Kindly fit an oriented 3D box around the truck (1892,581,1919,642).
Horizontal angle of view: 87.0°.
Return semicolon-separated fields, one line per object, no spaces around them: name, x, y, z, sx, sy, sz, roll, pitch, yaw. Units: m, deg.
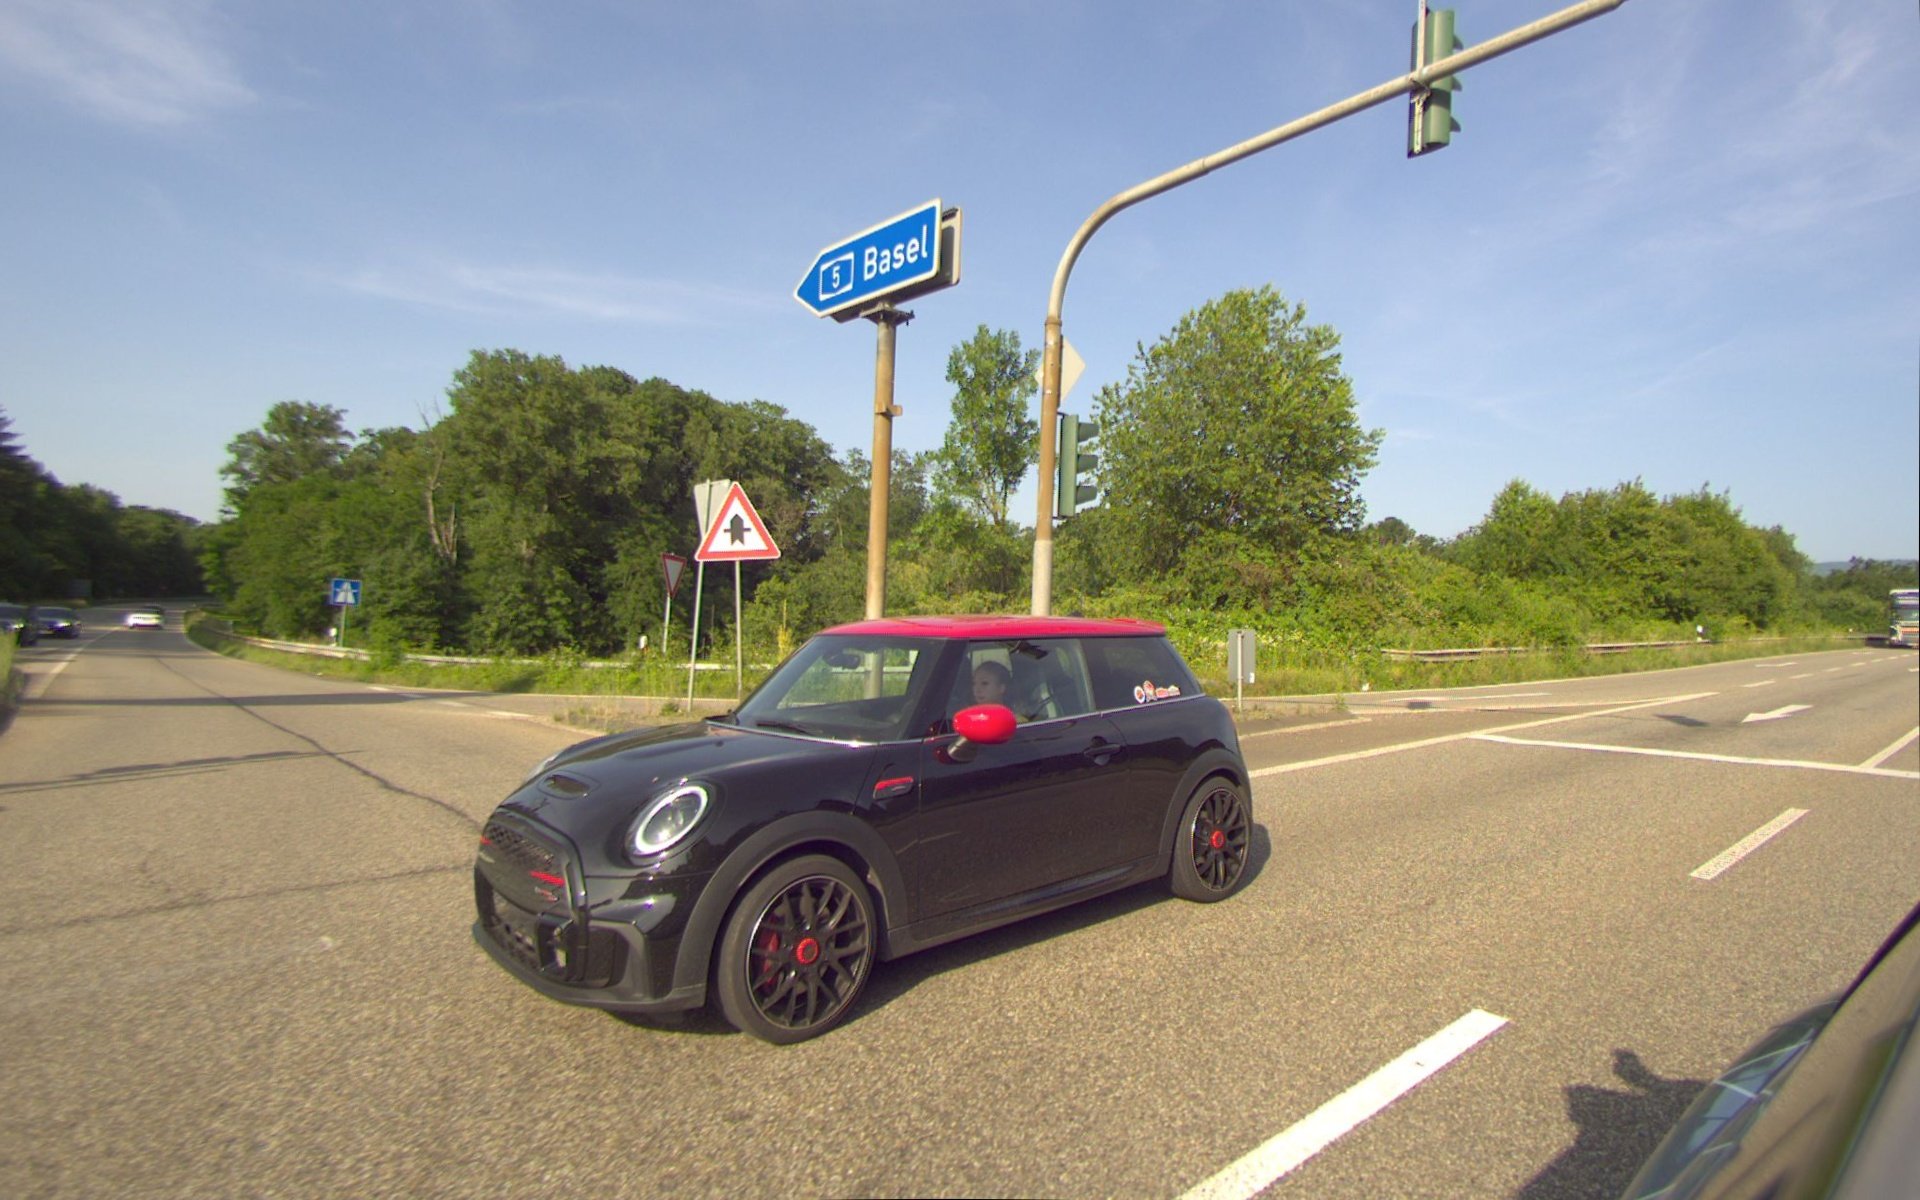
truck;68.661;0.837;71.274;14.314;4.071;3.192;1;-1;-43

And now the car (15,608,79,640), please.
car;-43.835;1.126;48.672;1.834;1.459;4.121;1;-1;-36

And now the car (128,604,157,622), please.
car;-69.904;1.094;86.548;1.835;1.459;4.119;1;-1;-38

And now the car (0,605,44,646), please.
car;-36.591;0.946;38.721;1.834;1.459;4.121;1;-1;-36

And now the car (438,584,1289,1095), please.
car;-0.213;0.726;4.925;3.806;1.486;1.822;1;-1;-42

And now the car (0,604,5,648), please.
car;-31.999;0.861;32.187;1.834;1.459;4.121;1;-1;-36

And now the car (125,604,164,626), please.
car;-55.747;1.036;69.216;1.834;1.459;4.121;1;-1;-36
